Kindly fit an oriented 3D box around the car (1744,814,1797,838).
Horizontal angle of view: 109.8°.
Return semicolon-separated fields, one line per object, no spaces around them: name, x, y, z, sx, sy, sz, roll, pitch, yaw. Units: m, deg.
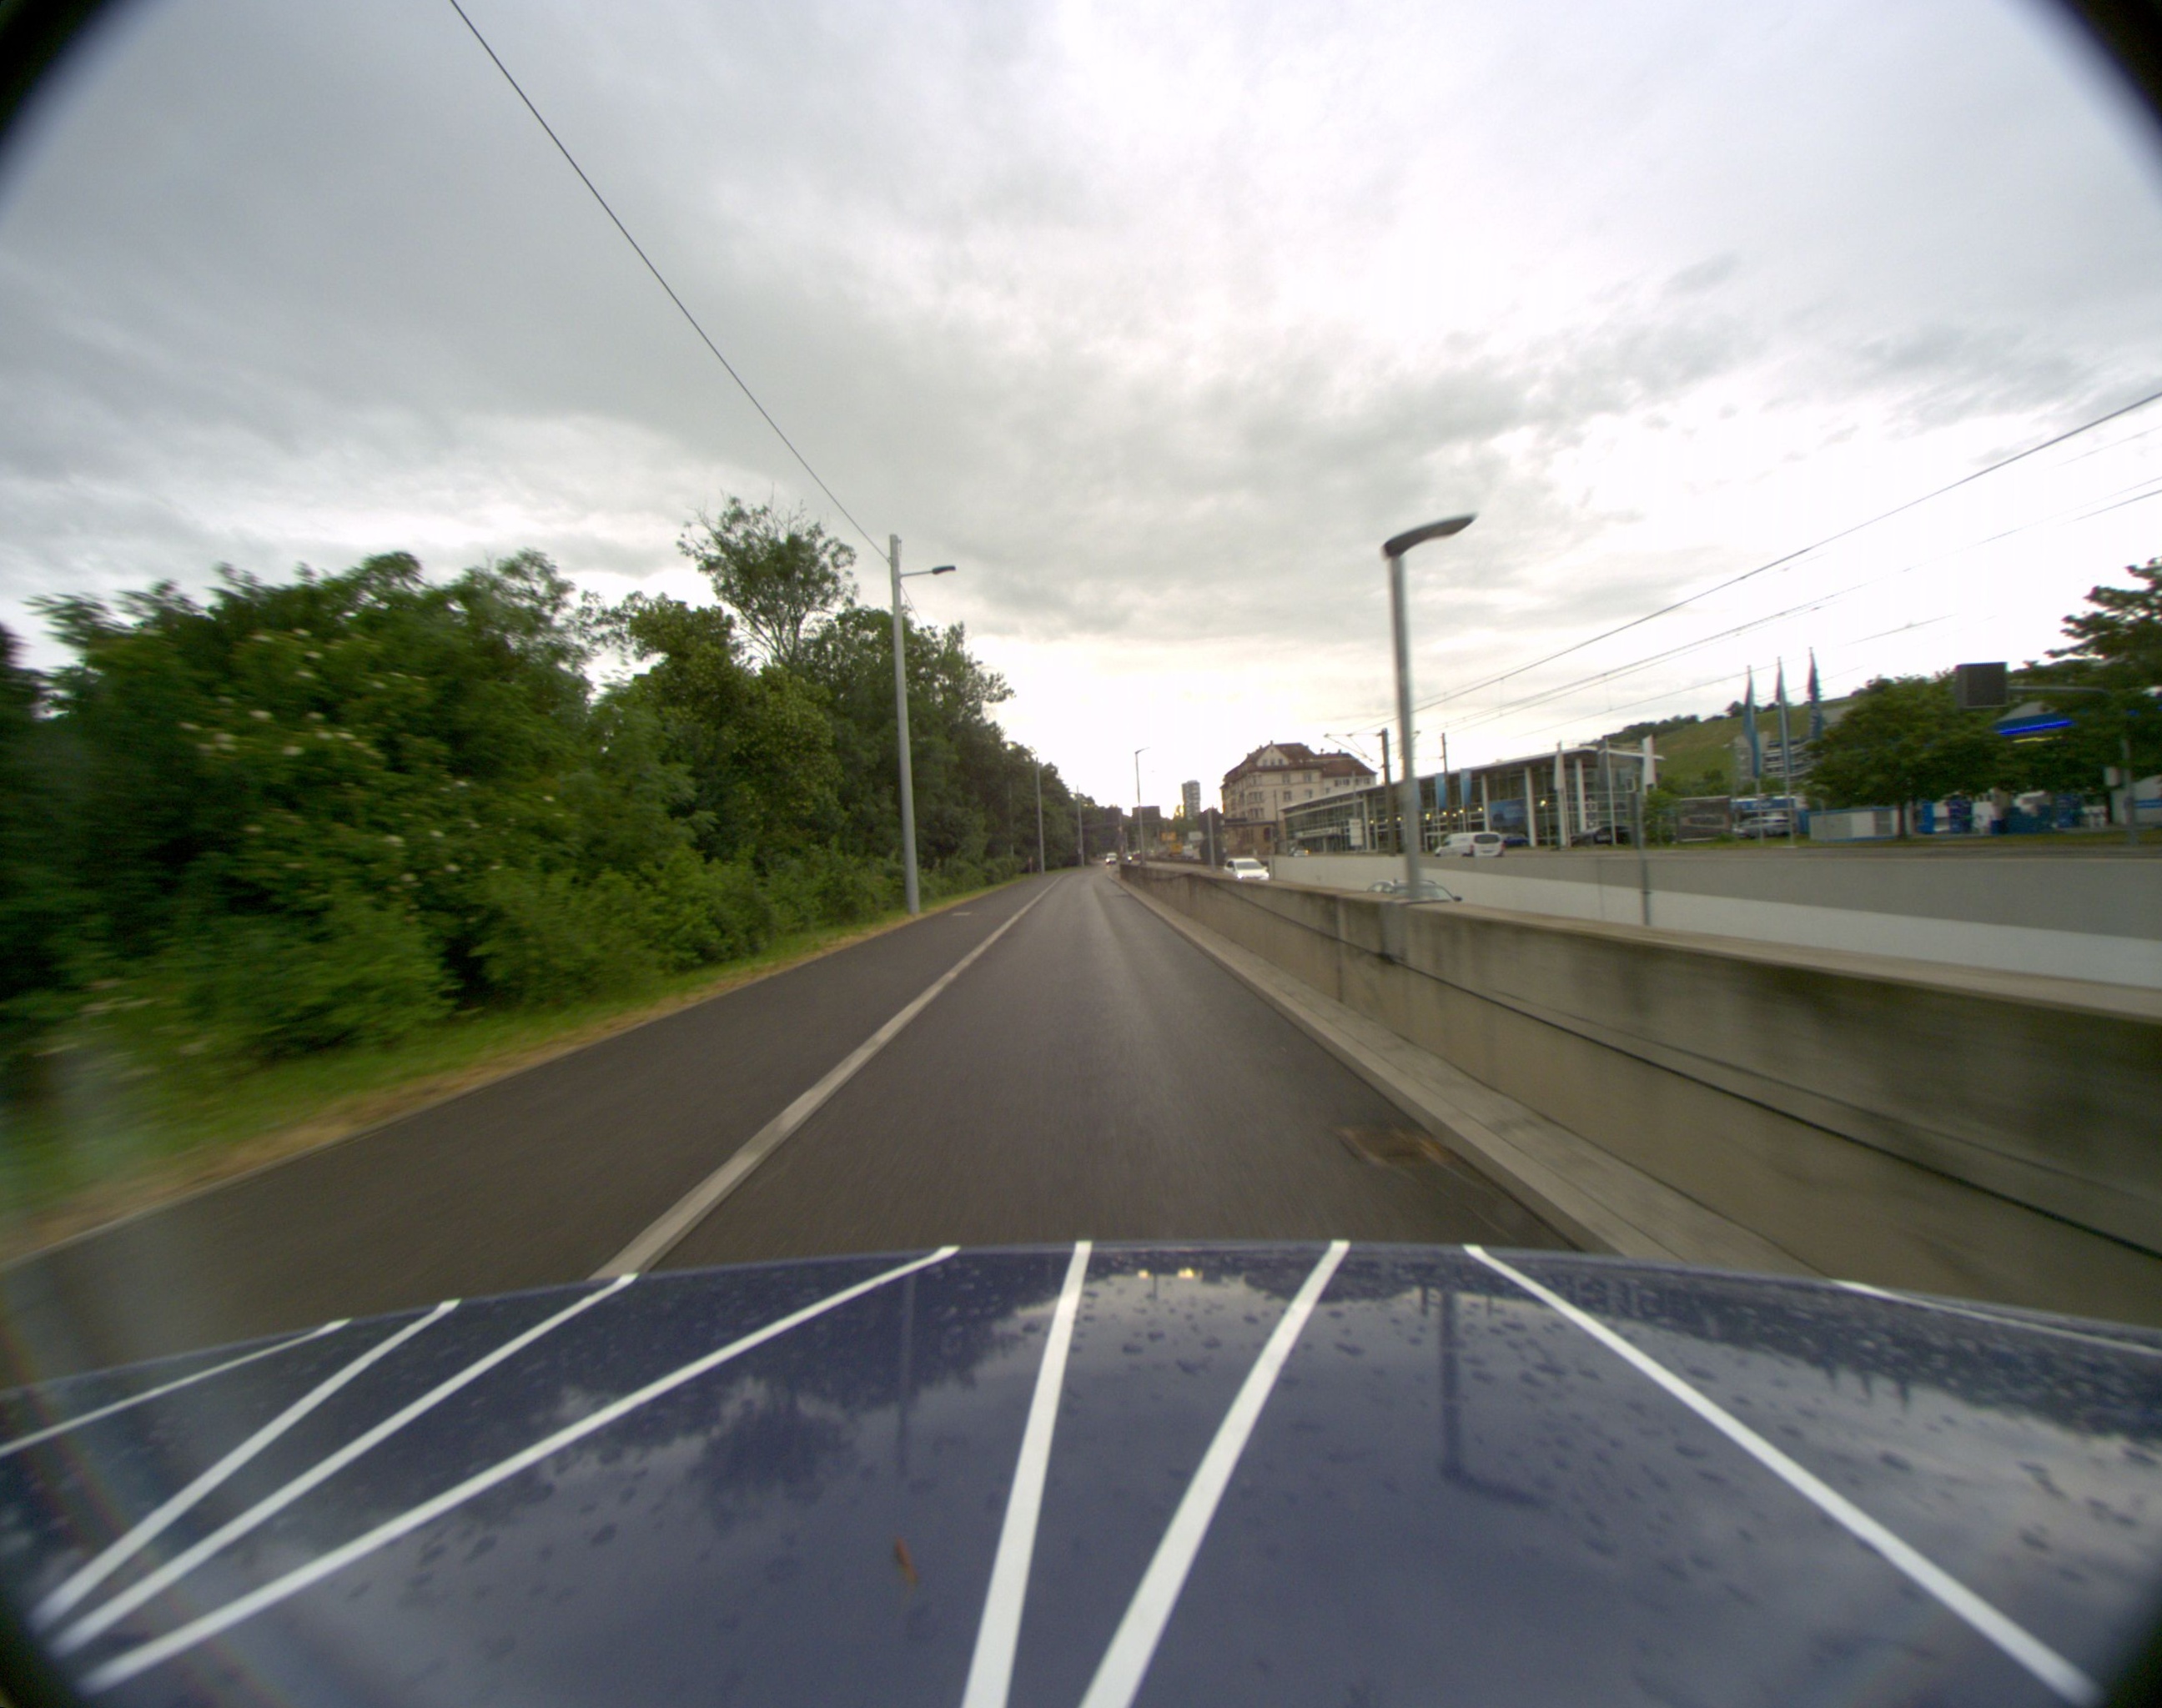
car;51.697;-2.081;57.020;1.385;1.564;2.800;-4;0;-2

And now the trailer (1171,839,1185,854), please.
trailer;27.113;-2.028;212.300;2.690;4.028;9.082;-2;0;0

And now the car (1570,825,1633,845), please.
car;39.303;-1.408;57.446;3.523;1.267;1.717;-3;1;4

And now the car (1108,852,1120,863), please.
car;5.149;0.601;118.467;1.710;1.585;4.000;-3;0;1

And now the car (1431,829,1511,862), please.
car;22.711;-0.478;44.539;2.006;1.685;5.034;-3;0;-1

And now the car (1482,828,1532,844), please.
car;38.852;-1.673;69.286;4.003;1.228;1.757;-3;1;-20

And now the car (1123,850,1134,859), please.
car;8.876;0.056;141.422;1.710;1.521;4.000;-3;0;1

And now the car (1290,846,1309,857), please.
car;26.240;-0.308;91.236;1.385;1.292;2.800;-4;0;-1

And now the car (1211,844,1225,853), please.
car;25.594;-0.983;142.020;1.746;1.507;4.339;-3;0;0

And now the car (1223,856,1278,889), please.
car;9.018;0.969;40.827;1.982;1.564;4.319;-3;0;1

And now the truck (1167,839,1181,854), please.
truck;27.092;-2.099;221.830;2.690;4.028;10.141;-2;0;0

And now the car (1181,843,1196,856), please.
car;22.759;-1.002;161.470;2.056;2.583;6.164;-3;0;0
